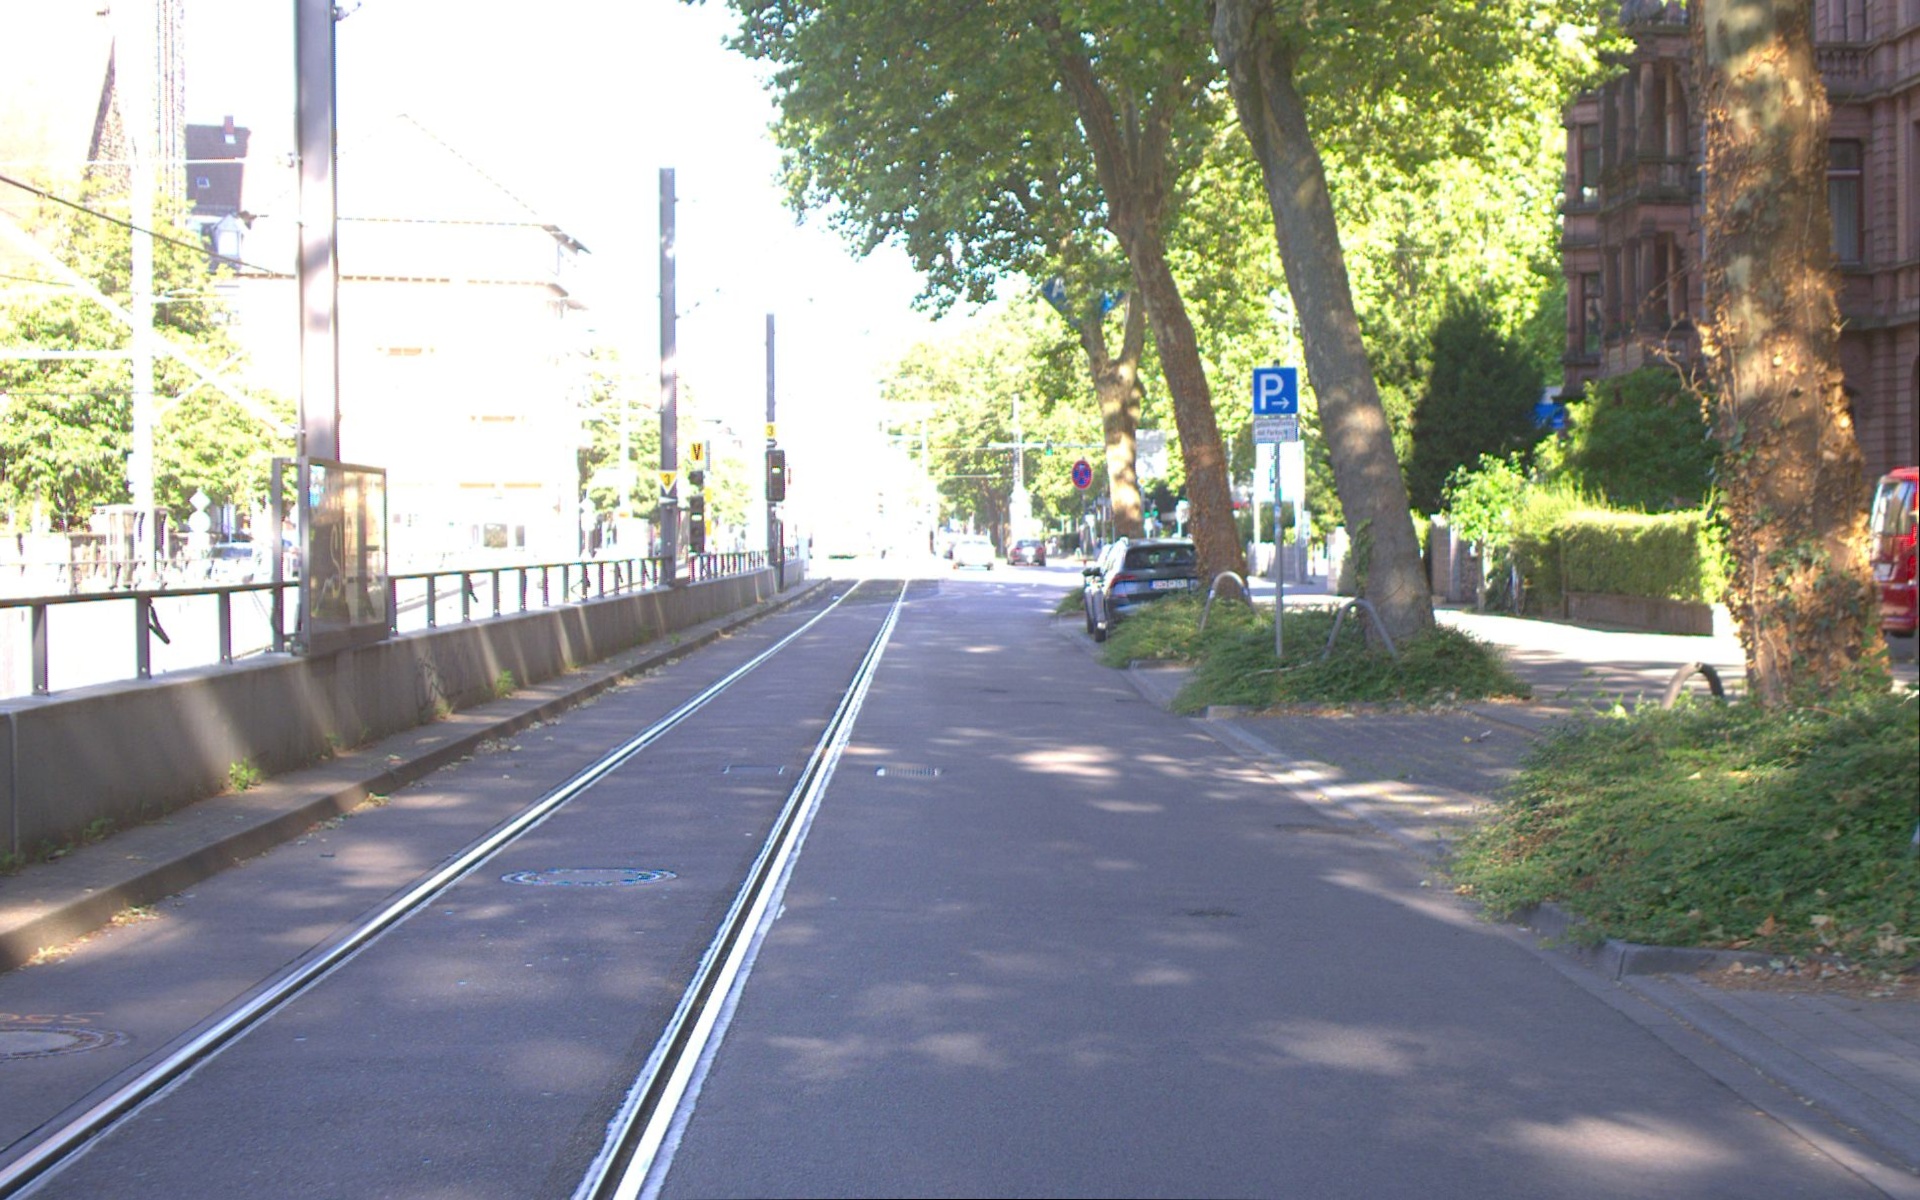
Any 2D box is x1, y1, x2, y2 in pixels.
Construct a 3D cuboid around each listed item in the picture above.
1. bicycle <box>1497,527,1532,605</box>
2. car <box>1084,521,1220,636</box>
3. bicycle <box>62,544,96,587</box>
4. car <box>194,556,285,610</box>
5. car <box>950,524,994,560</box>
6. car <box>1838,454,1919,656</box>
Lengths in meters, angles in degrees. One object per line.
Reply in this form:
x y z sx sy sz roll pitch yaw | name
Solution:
9.023 -0.559 55.996 0.337 1.245 1.767 2 1 4 | bicycle
2.758 -0.341 50.138 1.616 1.581 4.417 -1 1 -1 | car
-22.114 -0.865 86.298 0.485 1.019 1.894 2 1 -24 | bicycle
-22.292 -0.546 106.533 1.716 1.550 4.510 2 1 1 | car
0.515 -2.510 147.836 1.745 1.457 3.645 2 1 -1 | car
11.447 -0.558 35.437 4.175 2.007 2.000 -3 1 -2 | car
